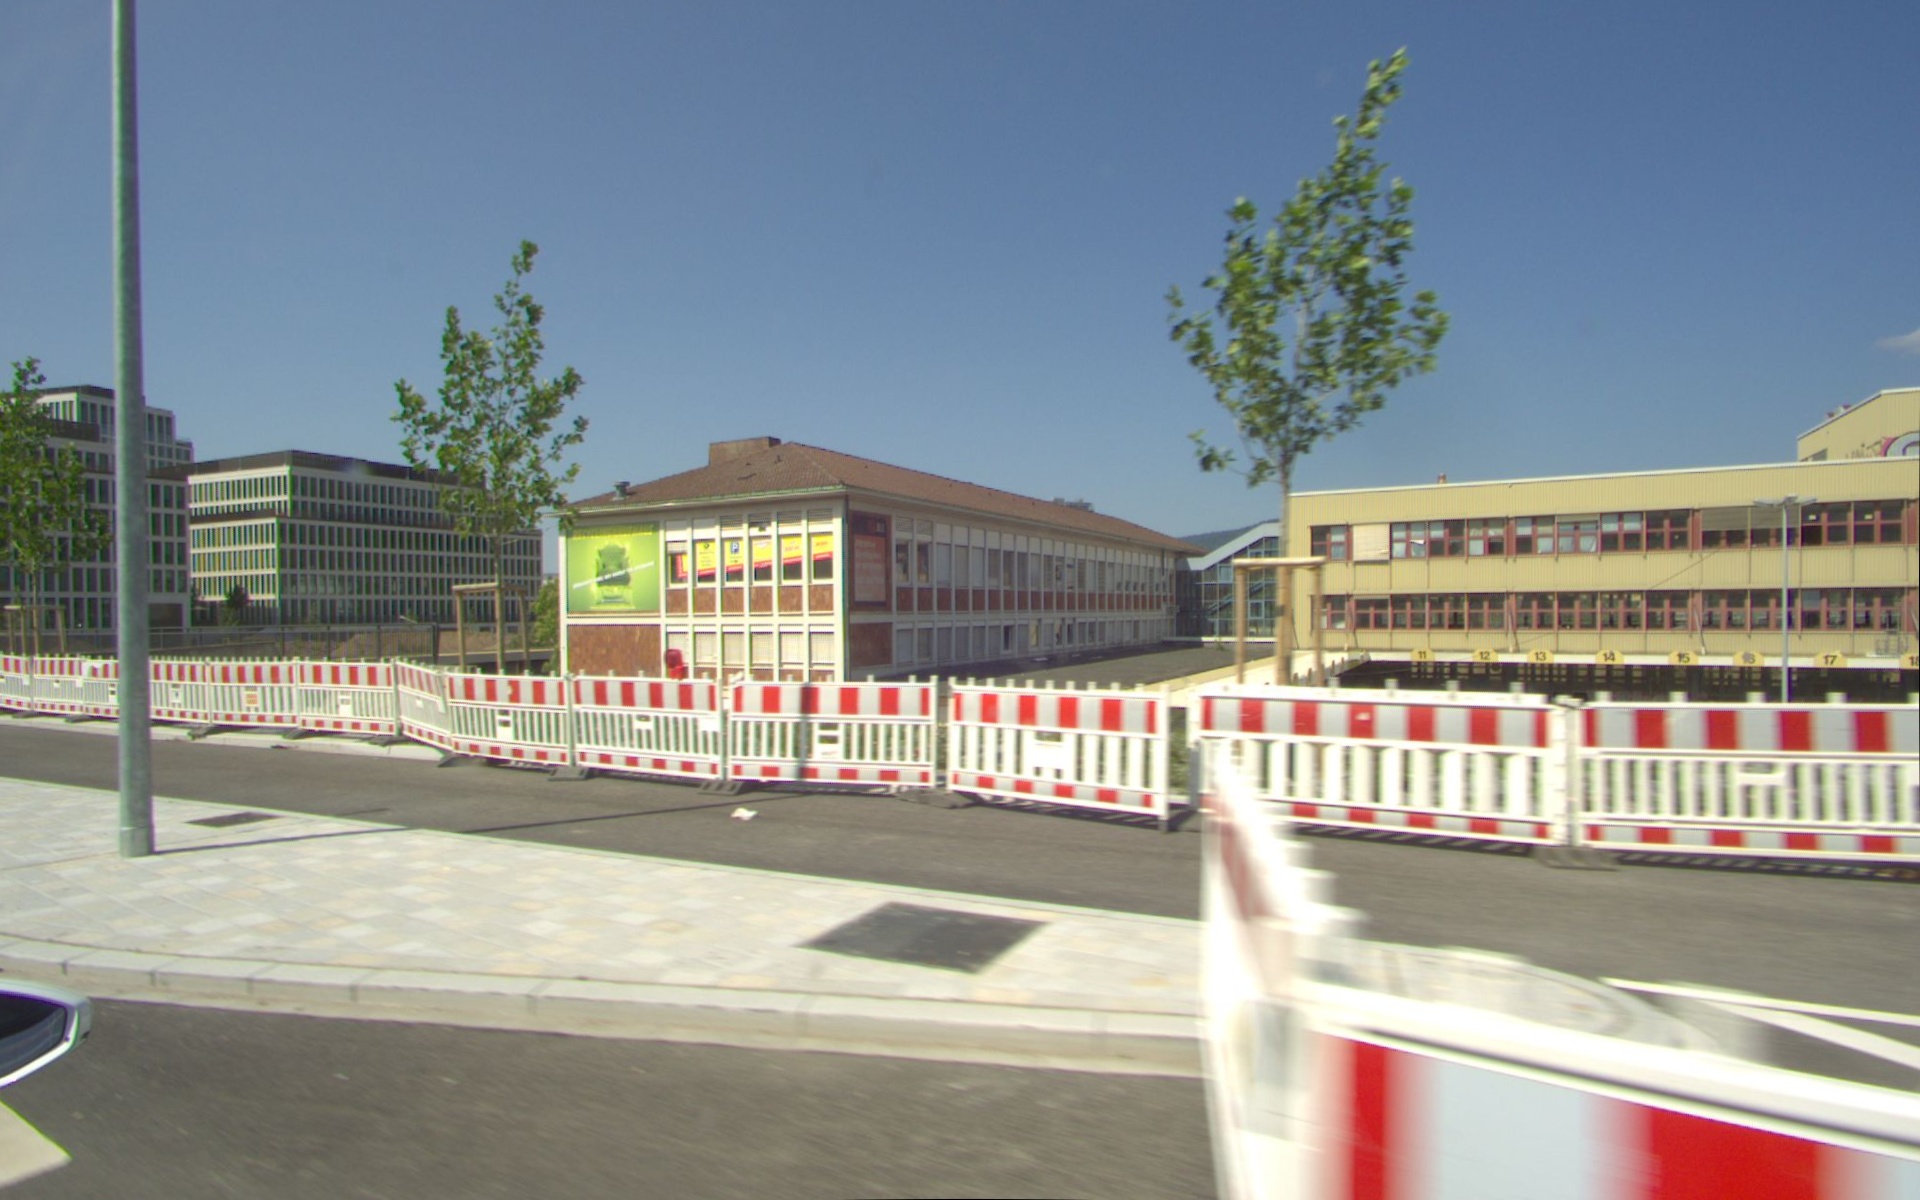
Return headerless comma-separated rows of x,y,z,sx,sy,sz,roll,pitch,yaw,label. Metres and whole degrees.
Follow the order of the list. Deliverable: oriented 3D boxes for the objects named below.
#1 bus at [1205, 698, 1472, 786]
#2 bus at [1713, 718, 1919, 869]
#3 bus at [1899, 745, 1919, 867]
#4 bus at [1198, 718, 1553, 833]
19.034,7.066,50.526,12.893,3.812,2.665,0,-1,-8,bus
33.945,6.766,37.166,16.870,3.812,2.654,0,-1,-28,bus
39.396,6.810,35.836,17.209,3.812,2.655,0,-1,-27,bus
16.036,6.728,39.002,12.889,3.812,2.666,-1,-1,-4,bus
